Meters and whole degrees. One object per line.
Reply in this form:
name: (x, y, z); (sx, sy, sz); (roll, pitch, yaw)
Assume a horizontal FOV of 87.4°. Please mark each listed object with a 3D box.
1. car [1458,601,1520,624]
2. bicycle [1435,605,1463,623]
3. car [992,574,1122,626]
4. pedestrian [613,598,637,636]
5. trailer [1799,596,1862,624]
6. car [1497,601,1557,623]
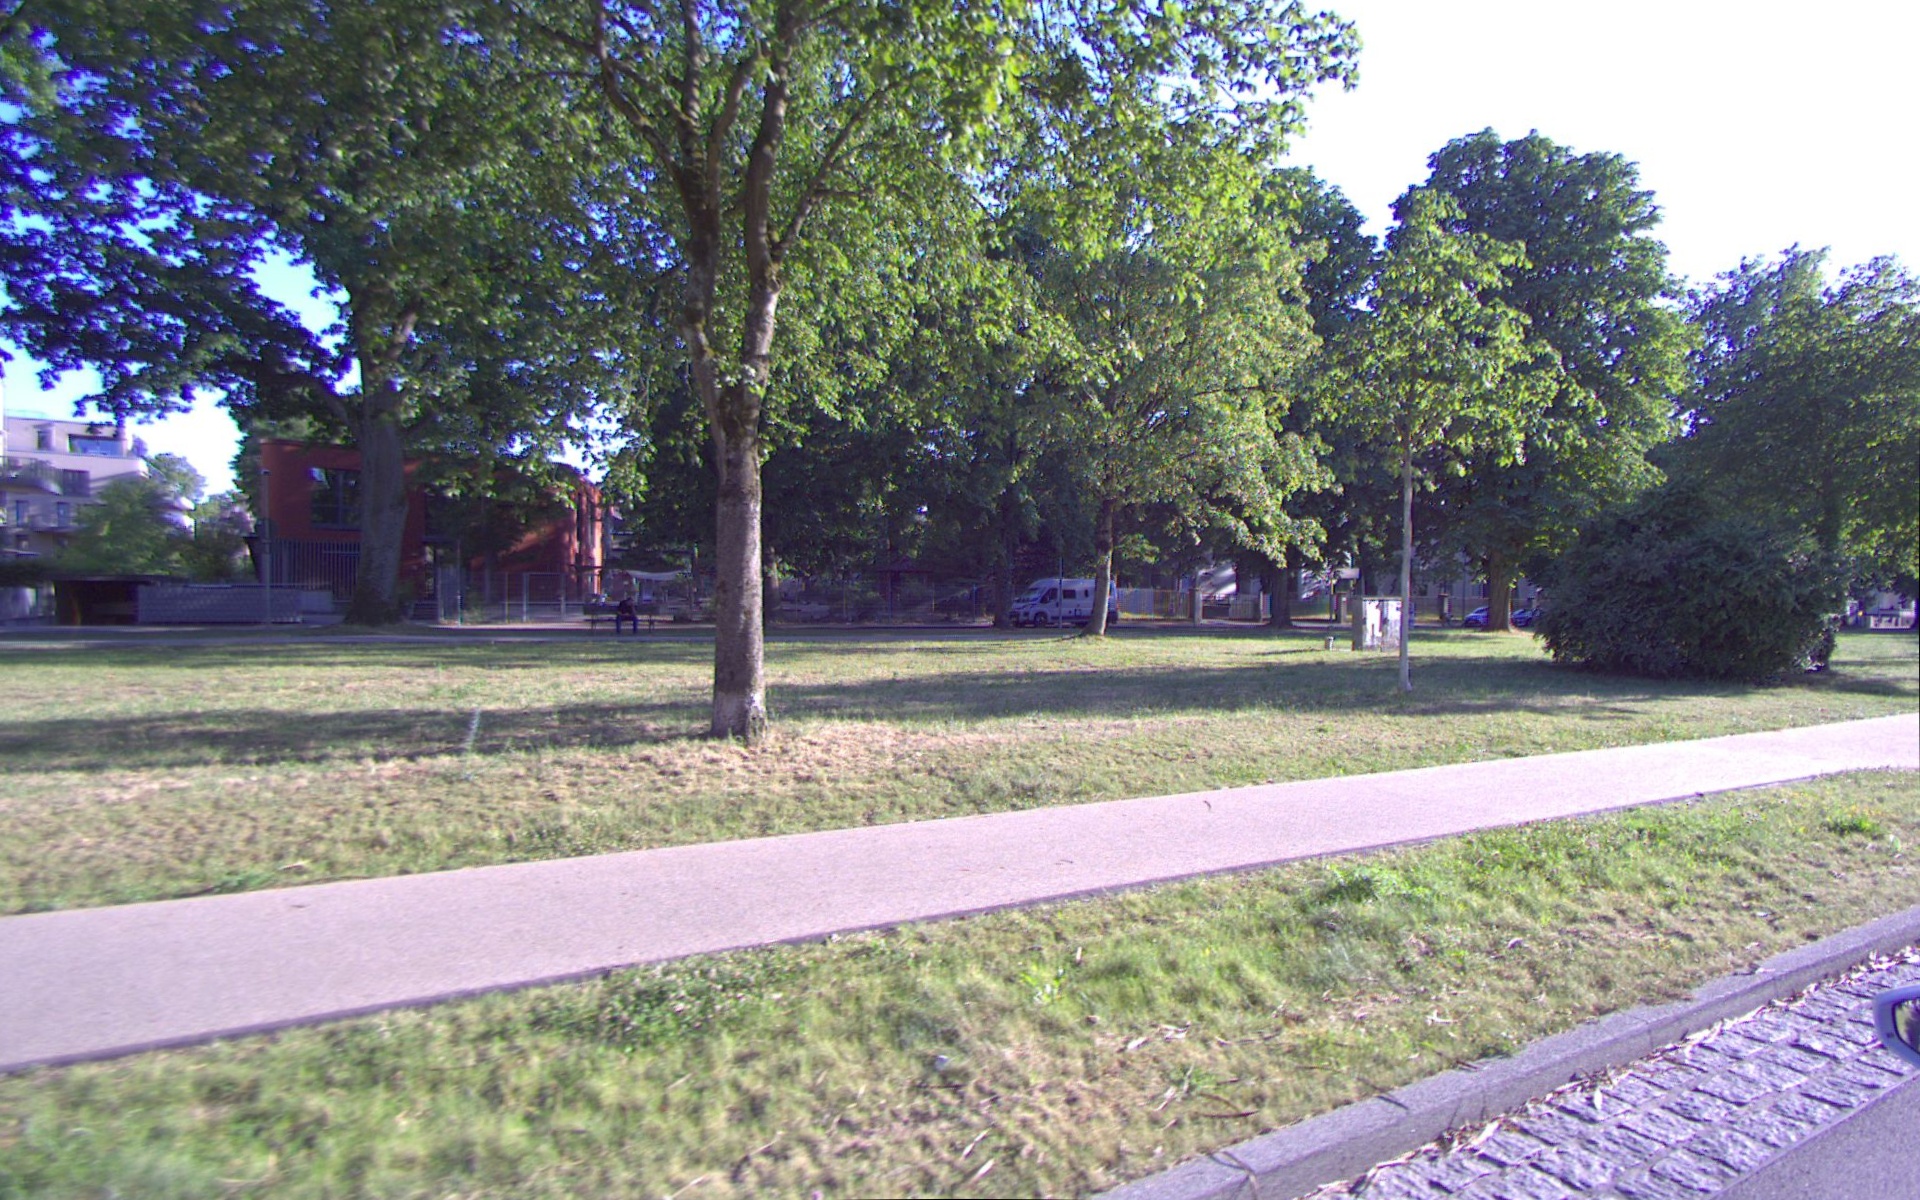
car: (36.540, 0.844, 69.364); (3.952, 1.528, 1.985); (1, 0, -29)
bicycle: (34.196, 0.984, 70.220); (2.308, 1.191, 0.653); (1, 0, -33)
car: (4.985, 0.033, 51.234); (6.247, 2.496, 2.706); (1, 0, -32)
pedestrian: (-8.831, 0.445, 26.477); (0.601, 1.000, 0.547); (1, 0, -19)
trailer: (84.187, 0.980, 97.132); (6.964, 2.522, 2.448); (1, 0, -30)
car: (40.613, 0.866, 71.978); (3.952, 1.528, 1.985); (1, 0, -29)
